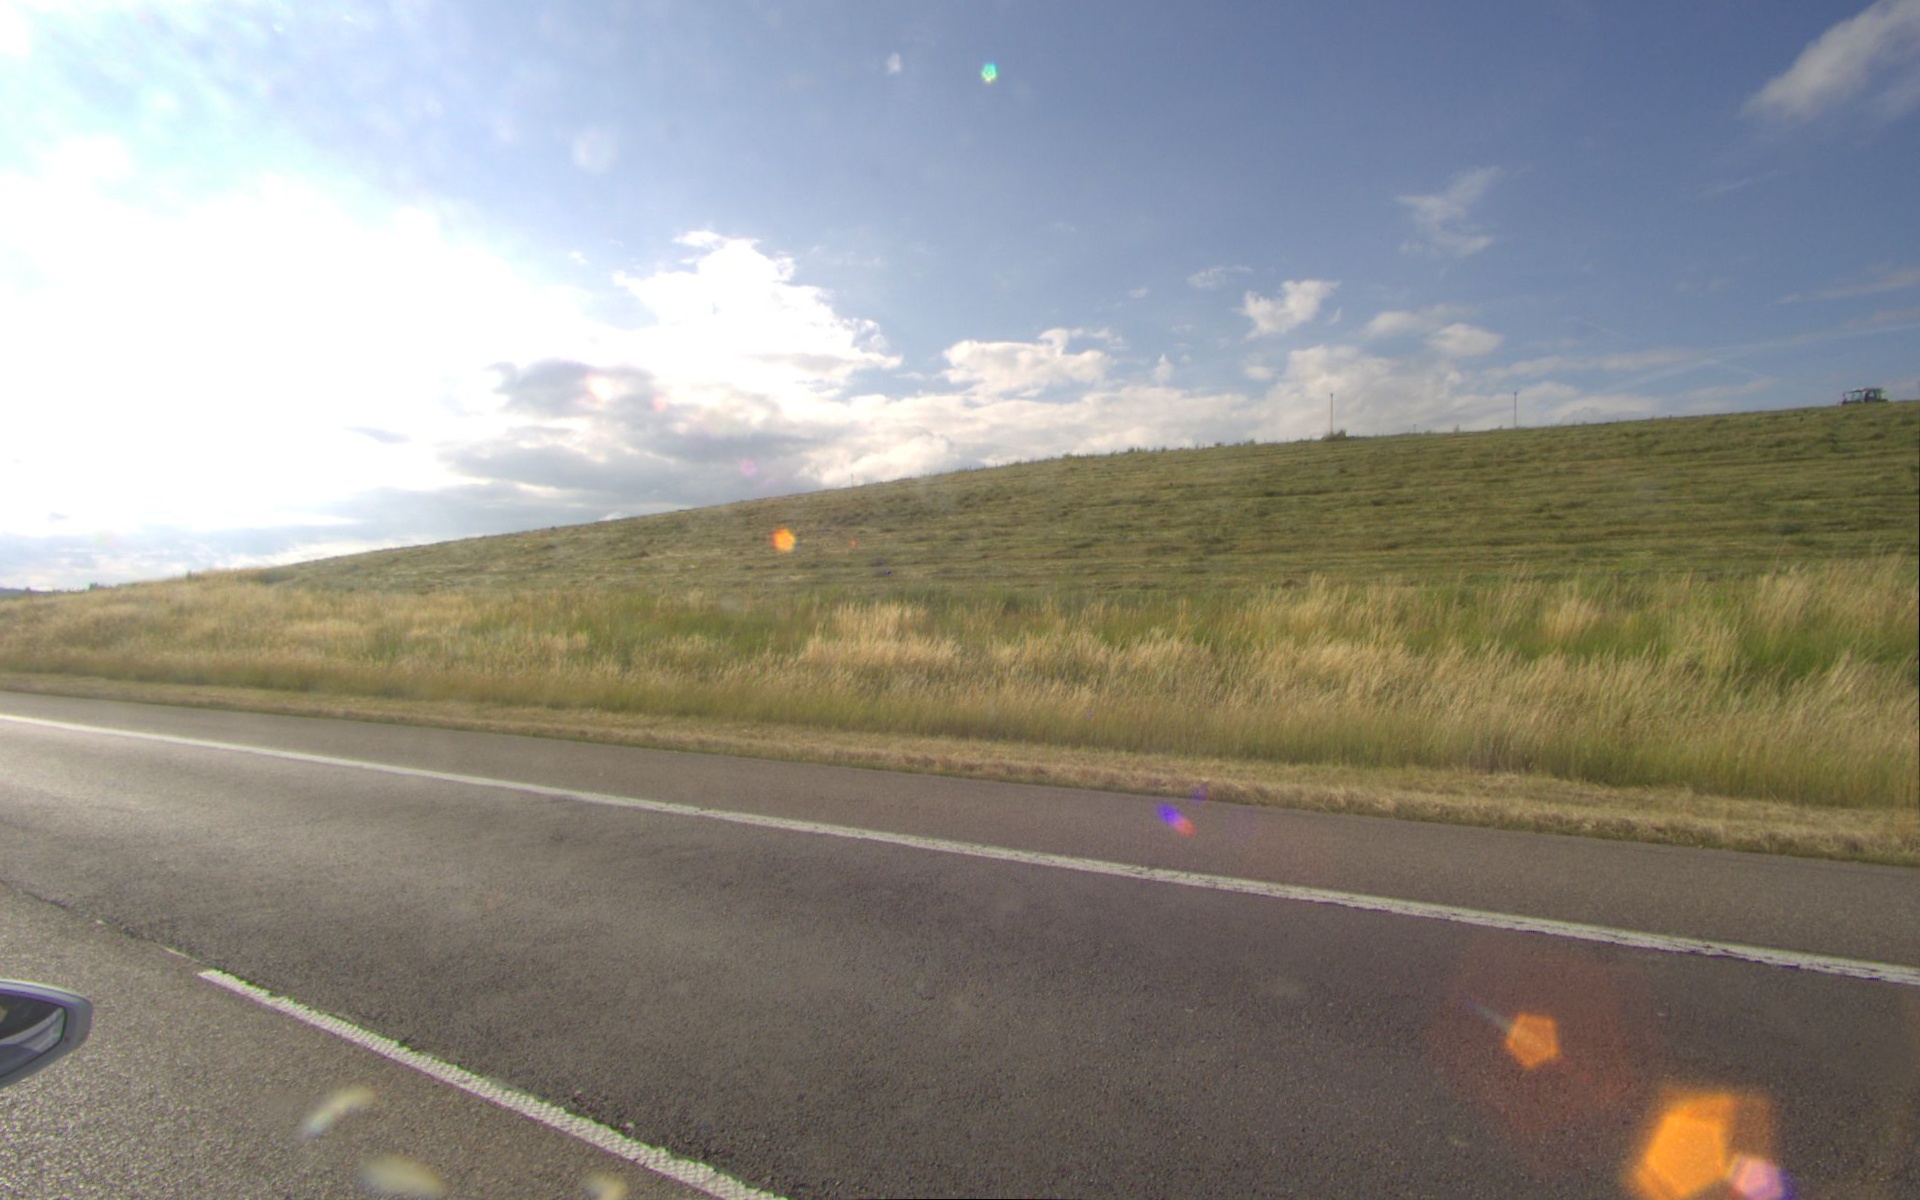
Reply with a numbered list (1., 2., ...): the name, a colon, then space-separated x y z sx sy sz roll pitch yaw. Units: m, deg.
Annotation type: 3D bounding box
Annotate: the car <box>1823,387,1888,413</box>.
1. car: 79.593 -17.778 89.093 3.932 1.566 1.706 -1 -1 22
